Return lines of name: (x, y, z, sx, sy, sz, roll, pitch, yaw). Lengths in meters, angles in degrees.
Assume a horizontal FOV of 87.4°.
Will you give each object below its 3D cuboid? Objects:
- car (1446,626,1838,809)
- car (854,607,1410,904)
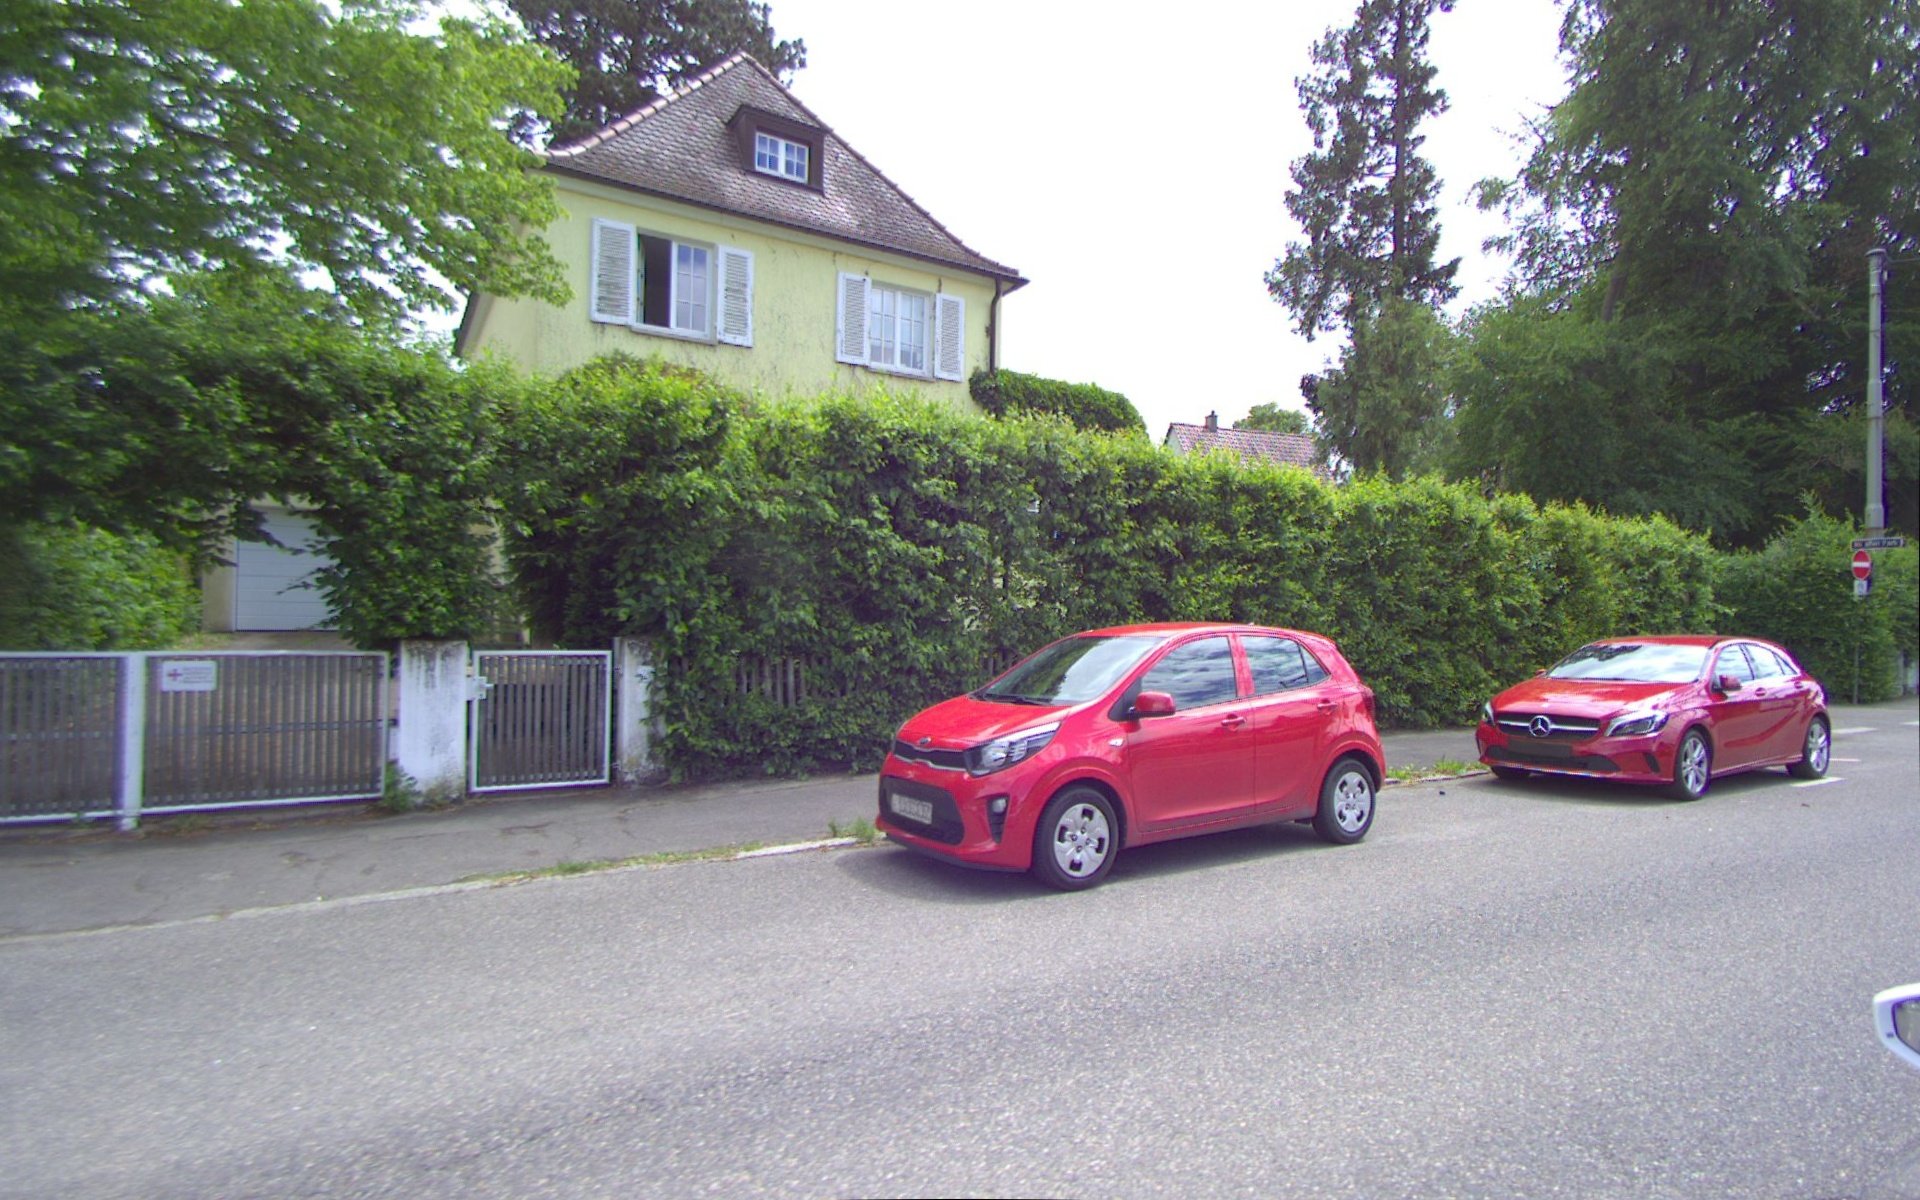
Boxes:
car: (6.927, 1.022, 10.107, 4.139, 1.490, 1.752, 1, -1, -32)
car: (1.200, 0.854, 6.728, 3.472, 1.524, 1.582, 1, -2, -29)
